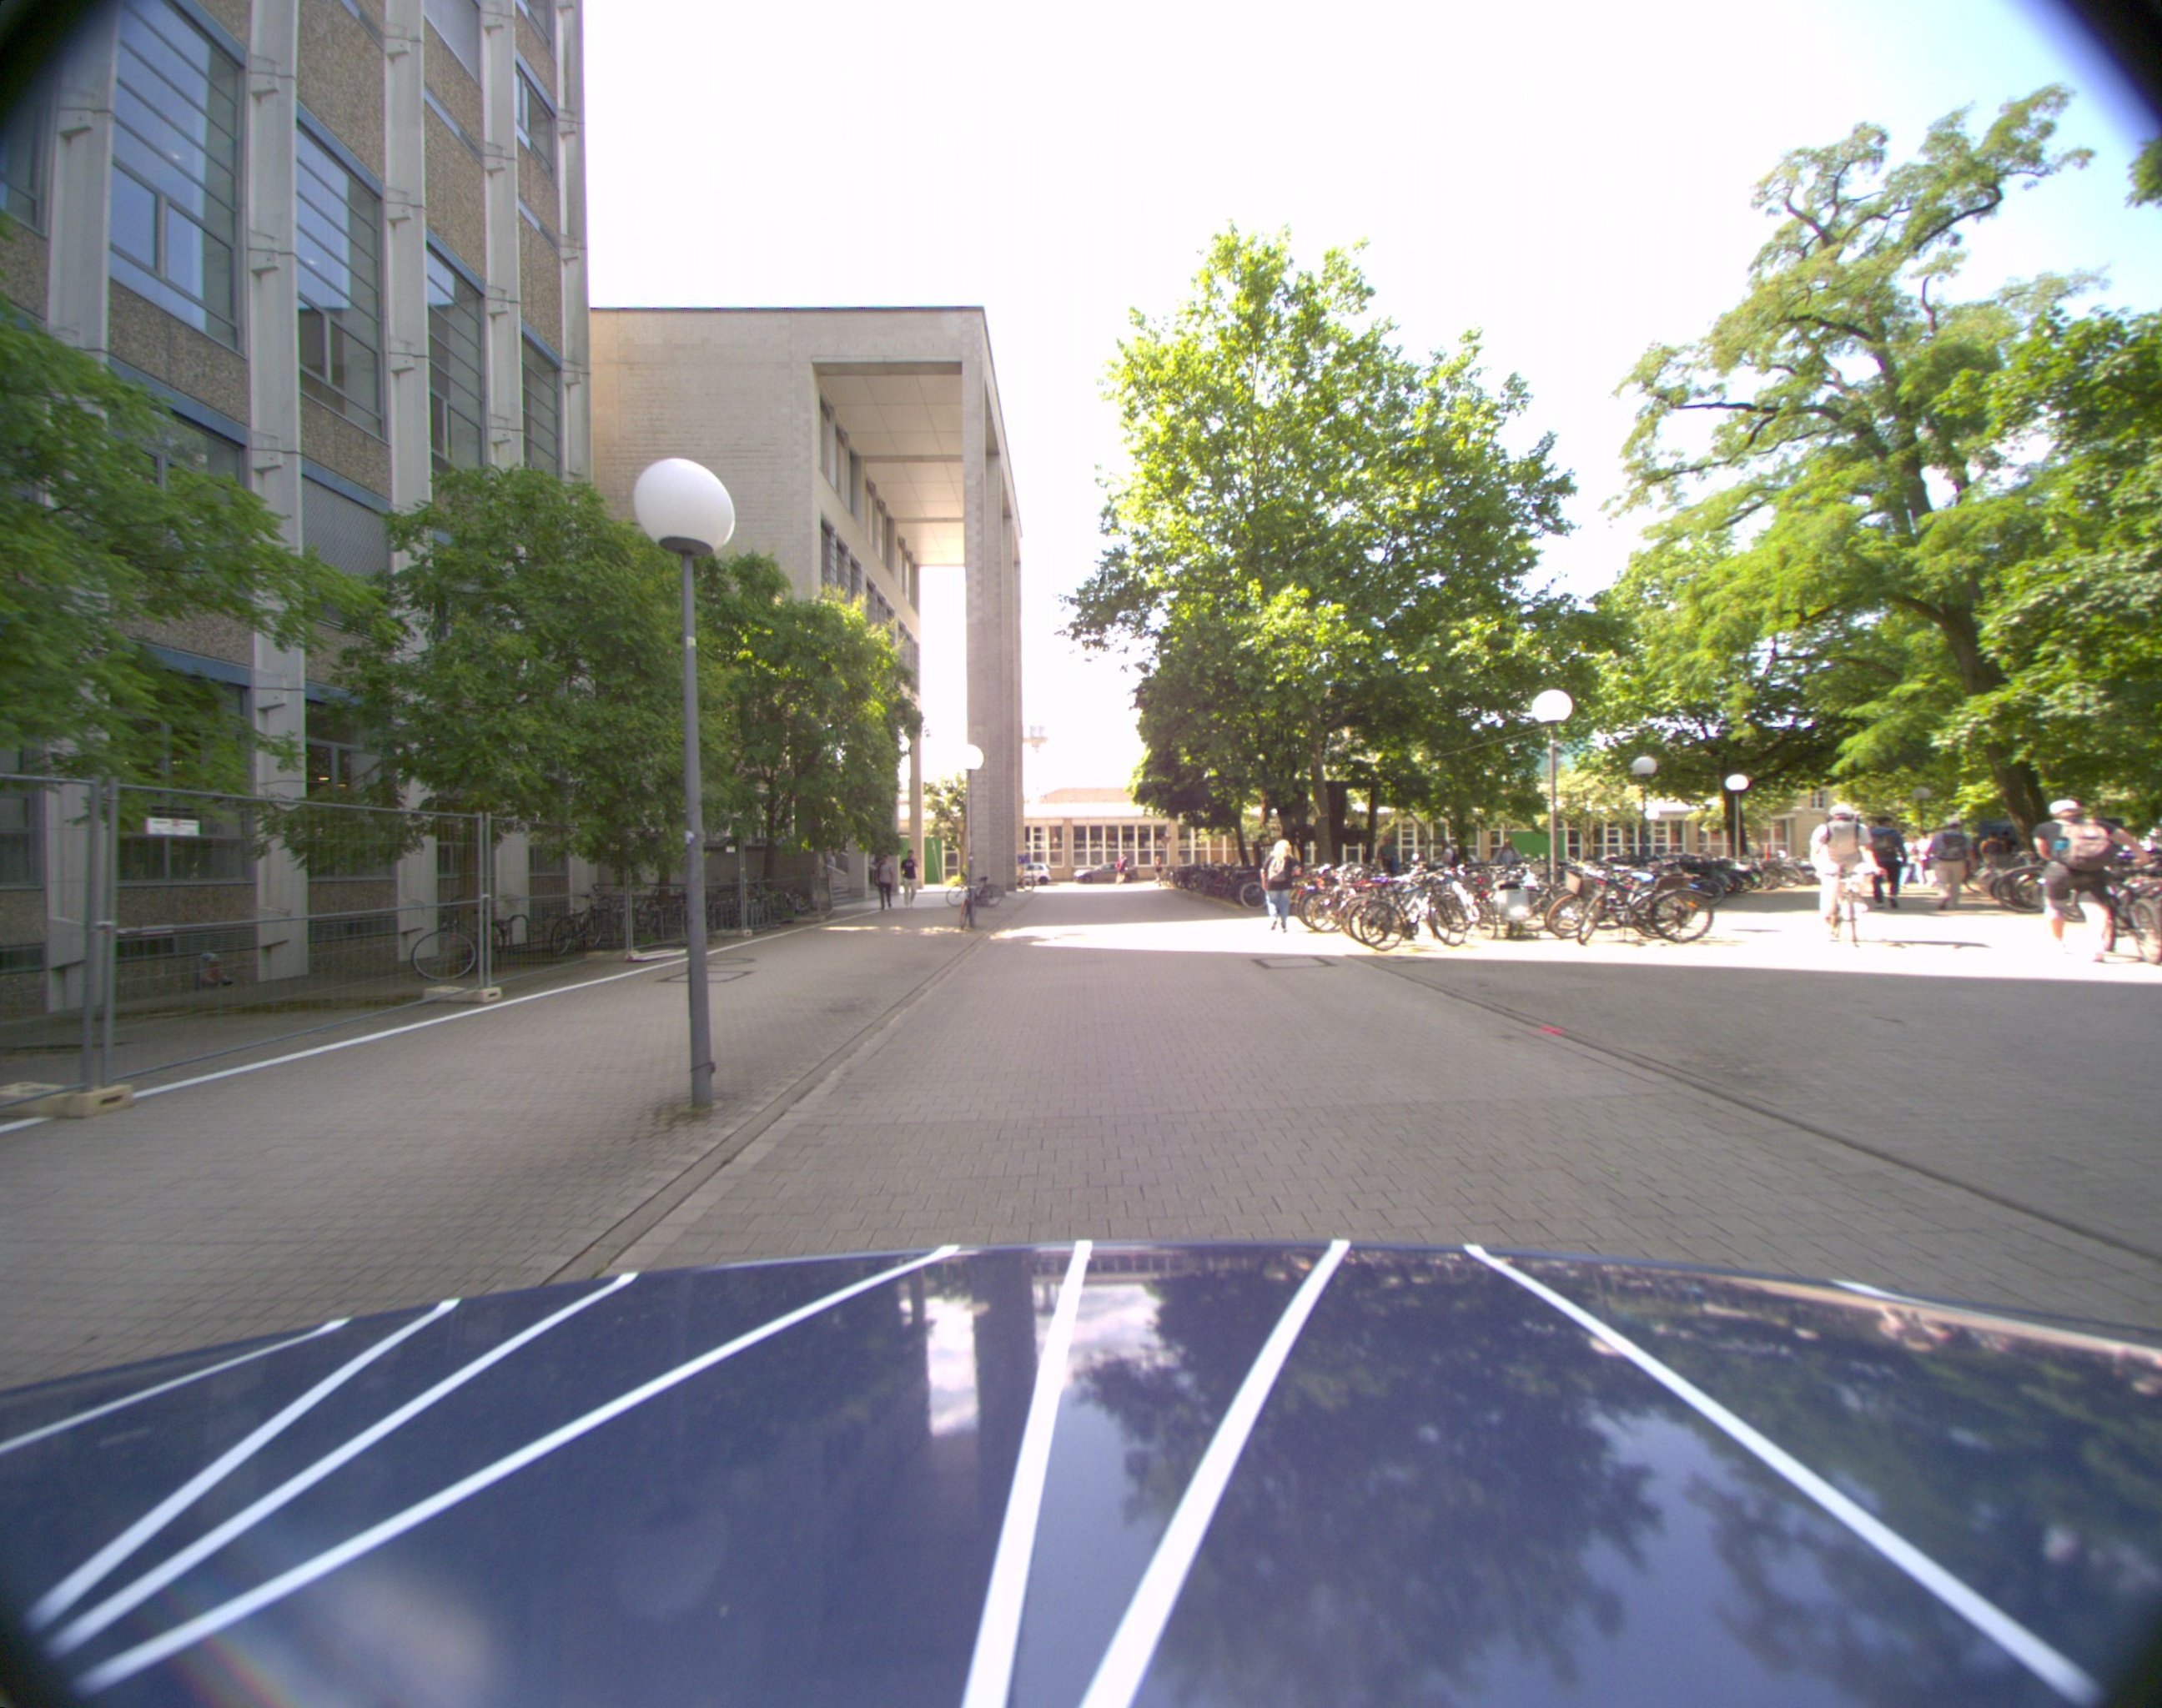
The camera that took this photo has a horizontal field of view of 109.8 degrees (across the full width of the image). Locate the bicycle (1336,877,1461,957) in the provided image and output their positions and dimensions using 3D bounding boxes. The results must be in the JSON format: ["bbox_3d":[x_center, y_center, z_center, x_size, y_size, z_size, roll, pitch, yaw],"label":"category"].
[{"bbox_3d":[4.747,0.927,11.388,1.699,1.085,0.474,-2,1,-6],"label":"bicycle"}]

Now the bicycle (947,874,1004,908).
[{"bbox_3d":[-3.277,1.149,23.723,1.744,1.033,0.449,0,-1,-5],"label":"bicycle"}]

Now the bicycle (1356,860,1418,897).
[{"bbox_3d":[9.530,0.752,23.667,1.695,1.101,0.504,-1,1,36],"label":"bicycle"}]

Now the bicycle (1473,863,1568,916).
[{"bbox_3d":[9.371,0.749,16.234,1.695,1.077,0.475,-1,1,36],"label":"bicycle"}]

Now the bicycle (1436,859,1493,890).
[{"bbox_3d":[13.968,0.735,27.724,0.504,1.101,1.775,-2,1,-38],"label":"bicycle"}]

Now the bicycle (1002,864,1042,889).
[{"bbox_3d":[-2.810,1.082,36.238,1.886,1.157,0.605,1,-1,-5],"label":"bicycle"}]

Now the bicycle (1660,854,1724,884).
[{"bbox_3d":[23.394,0.573,29.126,0.475,1.077,1.854,-2,1,-38],"label":"bicycle"}]

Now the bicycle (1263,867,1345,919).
[{"bbox_3d":[5.130,0.893,17.497,1.700,1.101,0.582,-2,1,-11],"label":"bicycle"}]

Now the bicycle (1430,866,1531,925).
[{"bbox_3d":[7.827,0.796,14.916,1.695,1.077,0.475,-1,1,35],"label":"bicycle"}]

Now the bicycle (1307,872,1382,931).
[{"bbox_3d":[5.270,0.915,15.149,1.702,1.055,0.473,-2,1,-35],"label":"bicycle"}]

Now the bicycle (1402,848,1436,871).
[{"bbox_3d":[17.939,0.283,40.343,1.890,1.165,0.803,-2,0,-37],"label":"bicycle"}]

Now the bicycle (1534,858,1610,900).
[{"bbox_3d":[13.508,0.676,20.943,0.475,1.077,1.695,-2,1,-38],"label":"bicycle"}]

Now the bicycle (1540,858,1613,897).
[{"bbox_3d":[14.255,0.664,21.910,0.475,1.077,1.695,-2,1,-38],"label":"bicycle"}]

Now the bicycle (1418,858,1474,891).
[{"bbox_3d":[12.893,0.723,26.841,1.695,1.101,0.504,-1,1,40],"label":"bicycle"}]

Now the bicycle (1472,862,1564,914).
[{"bbox_3d":[9.575,0.733,16.675,1.695,1.077,0.475,-1,1,36],"label":"bicycle"}]

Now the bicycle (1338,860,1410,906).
[{"bbox_3d":[7.597,0.747,19.706,1.700,1.101,0.502,-2,1,-11],"label":"bicycle"}]

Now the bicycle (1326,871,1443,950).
[{"bbox_3d":[4.840,0.886,12.149,1.699,1.161,0.474,-2,1,-6],"label":"bicycle"}]

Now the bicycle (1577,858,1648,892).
[{"bbox_3d":[17.571,0.672,25.135,0.475,1.077,1.854,-2,1,-38],"label":"bicycle"}]

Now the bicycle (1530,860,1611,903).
[{"bbox_3d":[12.796,0.708,19.900,1.695,1.077,0.475,-1,1,45],"label":"bicycle"}]

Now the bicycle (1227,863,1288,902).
[{"bbox_3d":[5.359,0.846,23.093,1.741,1.101,0.496,-2,1,-12],"label":"bicycle"}]

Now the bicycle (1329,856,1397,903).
[{"bbox_3d":[7.699,0.675,20.763,1.700,1.213,0.502,-2,1,-11],"label":"bicycle"}]

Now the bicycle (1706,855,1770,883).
[{"bbox_3d":[26.397,0.588,30.555,0.475,1.077,1.854,-2,1,-38],"label":"bicycle"}]

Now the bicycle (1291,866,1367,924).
[{"bbox_3d":[5.343,0.854,16.352,1.702,1.151,0.473,-2,1,-27],"label":"bicycle"}]

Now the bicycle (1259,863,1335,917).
[{"bbox_3d":[5.120,0.836,18.024,1.700,1.181,0.473,-2,1,-11],"label":"bicycle"}]

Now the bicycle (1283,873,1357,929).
[{"bbox_3d":[4.897,0.942,15.501,1.702,1.013,0.473,-2,1,-35],"label":"bicycle"}]

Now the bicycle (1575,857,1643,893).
[{"bbox_3d":[16.777,0.658,24.189,0.475,1.077,1.695,-2,1,-38],"label":"bicycle"}]

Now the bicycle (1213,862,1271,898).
[{"bbox_3d":[5.208,0.836,24.597,1.740,1.120,0.497,-2,1,-5],"label":"bicycle"}]

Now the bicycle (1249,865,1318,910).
[{"bbox_3d":[5.327,0.859,20.006,1.700,1.101,0.473,-2,1,-11],"label":"bicycle"}]

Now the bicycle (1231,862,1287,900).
[{"bbox_3d":[5.612,0.844,23.947,1.742,1.101,0.496,-2,1,-24],"label":"bicycle"}]

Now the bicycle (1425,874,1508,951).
[{"bbox_3d":[6.077,0.884,12.065,0.508,1.077,1.700,-2,1,3],"label":"bicycle"}]

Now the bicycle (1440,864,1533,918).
[{"bbox_3d":[8.571,0.779,16.101,1.695,1.077,0.475,-1,1,31],"label":"bicycle"}]

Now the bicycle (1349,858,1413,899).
[{"bbox_3d":[9.134,0.741,23.186,1.695,1.193,0.577,-1,1,36],"label":"bicycle"}]

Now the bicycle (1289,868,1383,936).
[{"bbox_3d":[4.788,0.882,14.254,1.701,1.161,0.473,-2,1,-17],"label":"bicycle"}]

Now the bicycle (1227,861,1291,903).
[{"bbox_3d":[5.235,0.814,22.401,1.739,1.172,0.497,-2,1,-1],"label":"bicycle"}]

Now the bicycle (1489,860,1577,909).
[{"bbox_3d":[10.400,0.701,17.525,1.695,1.077,0.475,-1,1,36],"label":"bicycle"}]

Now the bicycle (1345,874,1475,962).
[{"bbox_3d":[4.721,0.895,10.919,1.699,1.152,0.474,-2,1,-9],"label":"bicycle"}]

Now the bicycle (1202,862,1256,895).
[{"bbox_3d":[5.086,0.840,26.090,1.737,1.101,0.575,-1,1,19],"label":"bicycle"}]

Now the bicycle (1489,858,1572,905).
[{"bbox_3d":[10.929,0.664,18.506,1.695,1.077,0.475,-1,1,36],"label":"bicycle"}]

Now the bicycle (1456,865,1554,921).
[{"bbox_3d":[8.623,0.781,15.489,1.695,1.077,0.475,-1,1,31],"label":"bicycle"}]

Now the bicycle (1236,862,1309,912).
[{"bbox_3d":[4.878,0.837,19.407,1.699,1.192,0.536,-2,1,-8],"label":"bicycle"}]

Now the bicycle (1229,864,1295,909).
[{"bbox_3d":[4.955,0.878,20.837,1.700,1.139,0.473,-2,1,-12],"label":"bicycle"}]

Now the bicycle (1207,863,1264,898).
[{"bbox_3d":[5.121,0.867,25.218,1.739,1.101,0.497,-2,1,0],"label":"bicycle"}]

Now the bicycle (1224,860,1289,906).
[{"bbox_3d":[5.038,0.817,21.840,1.740,1.228,0.496,-2,1,-7],"label":"bicycle"}]

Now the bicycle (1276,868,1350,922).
[{"bbox_3d":[5.129,0.882,16.765,1.702,1.101,0.473,-2,1,-27],"label":"bicycle"}]

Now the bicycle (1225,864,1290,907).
[{"bbox_3d":[4.972,0.874,21.362,1.700,1.101,0.496,-2,1,-10],"label":"bicycle"}]

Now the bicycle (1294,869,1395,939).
[{"bbox_3d":[4.760,0.889,13.711,1.700,1.161,0.473,-2,1,-13],"label":"bicycle"}]

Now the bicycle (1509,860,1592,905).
[{"bbox_3d":[11.808,0.706,19.144,1.695,1.077,0.475,-1,1,45],"label":"bicycle"}]

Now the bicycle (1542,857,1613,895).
[{"bbox_3d":[14.827,0.657,22.739,0.475,1.077,1.695,-2,1,-38],"label":"bicycle"}]

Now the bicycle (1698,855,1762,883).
[{"bbox_3d":[25.813,0.602,30.240,0.475,1.077,1.854,-2,1,-38],"label":"bicycle"}]

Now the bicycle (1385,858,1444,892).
[{"bbox_3d":[11.097,0.703,25.285,1.695,1.101,0.504,-1,1,40],"label":"bicycle"}]

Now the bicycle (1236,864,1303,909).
[{"bbox_3d":[5.056,0.863,20.379,1.700,1.101,0.473,-2,1,-12],"label":"bicycle"}]

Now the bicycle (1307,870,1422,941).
[{"bbox_3d":[4.816,0.886,13.001,1.778,1.161,0.474,-2,1,13],"label":"bicycle"}]

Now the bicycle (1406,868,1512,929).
[{"bbox_3d":[7.066,0.835,14.253,1.696,1.077,0.474,-2,1,13],"label":"bicycle"}]

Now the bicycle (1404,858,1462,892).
[{"bbox_3d":[12.028,0.707,25.977,1.695,1.101,0.632,-1,1,40],"label":"bicycle"}]

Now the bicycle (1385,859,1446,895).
[{"bbox_3d":[10.552,0.721,23.996,1.695,1.101,0.504,-1,1,36],"label":"bicycle"}]

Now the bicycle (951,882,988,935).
[{"bbox_3d":[-2.455,1.180,16.881,0.538,1.033,1.858,0,0,0],"label":"bicycle"}]

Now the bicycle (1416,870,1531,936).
[{"bbox_3d":[6.775,0.850,13.180,1.697,1.077,0.474,-2,1,12],"label":"bicycle"}]

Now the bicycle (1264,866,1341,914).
[{"bbox_3d":[5.411,0.864,18.577,1.700,1.101,0.565,-2,1,-11],"label":"bicycle"}]
